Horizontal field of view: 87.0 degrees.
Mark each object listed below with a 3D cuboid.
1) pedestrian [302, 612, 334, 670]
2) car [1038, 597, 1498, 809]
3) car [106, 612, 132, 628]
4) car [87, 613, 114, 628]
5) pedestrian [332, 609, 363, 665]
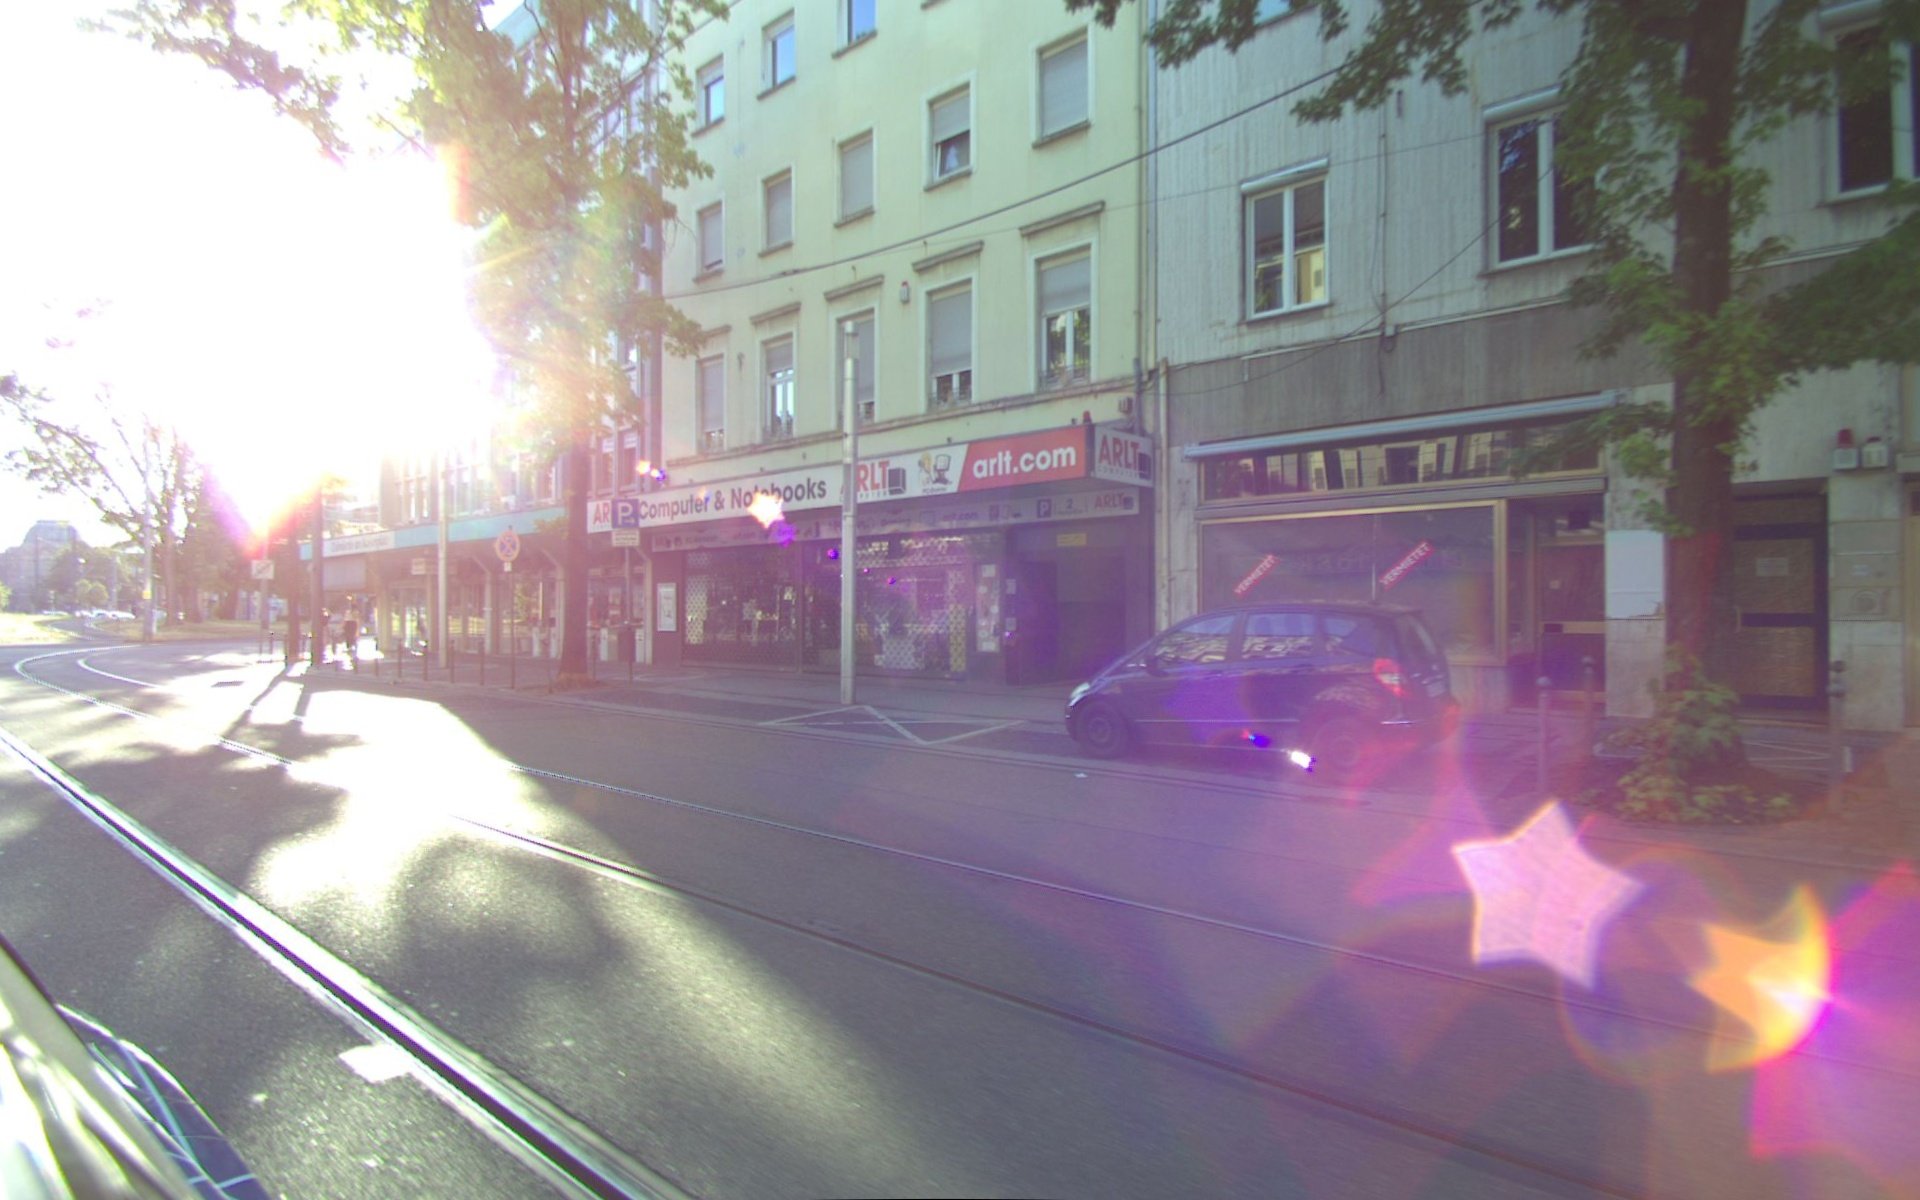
[{"bbox_3d":[-23.055,1.466,36.334,0.734,2.029,0.788,0,-1,42],"label":"pedestrian"},{"bbox_3d":[2.975,0.852,10.254,4.000,1.652,1.941,-1,1,43],"label":"car"},{"bbox_3d":[-108.664,2.534,130.760,3.999,2.029,1.972,-1,-2,42],"label":"car"},{"bbox_3d":[-117.285,2.817,138.114,4.544,2.029,1.974,-1,-1,39],"label":"car"},{"bbox_3d":[-22.453,1.335,37.075,0.734,2.029,0.788,0,-1,42],"label":"pedestrian"}]
